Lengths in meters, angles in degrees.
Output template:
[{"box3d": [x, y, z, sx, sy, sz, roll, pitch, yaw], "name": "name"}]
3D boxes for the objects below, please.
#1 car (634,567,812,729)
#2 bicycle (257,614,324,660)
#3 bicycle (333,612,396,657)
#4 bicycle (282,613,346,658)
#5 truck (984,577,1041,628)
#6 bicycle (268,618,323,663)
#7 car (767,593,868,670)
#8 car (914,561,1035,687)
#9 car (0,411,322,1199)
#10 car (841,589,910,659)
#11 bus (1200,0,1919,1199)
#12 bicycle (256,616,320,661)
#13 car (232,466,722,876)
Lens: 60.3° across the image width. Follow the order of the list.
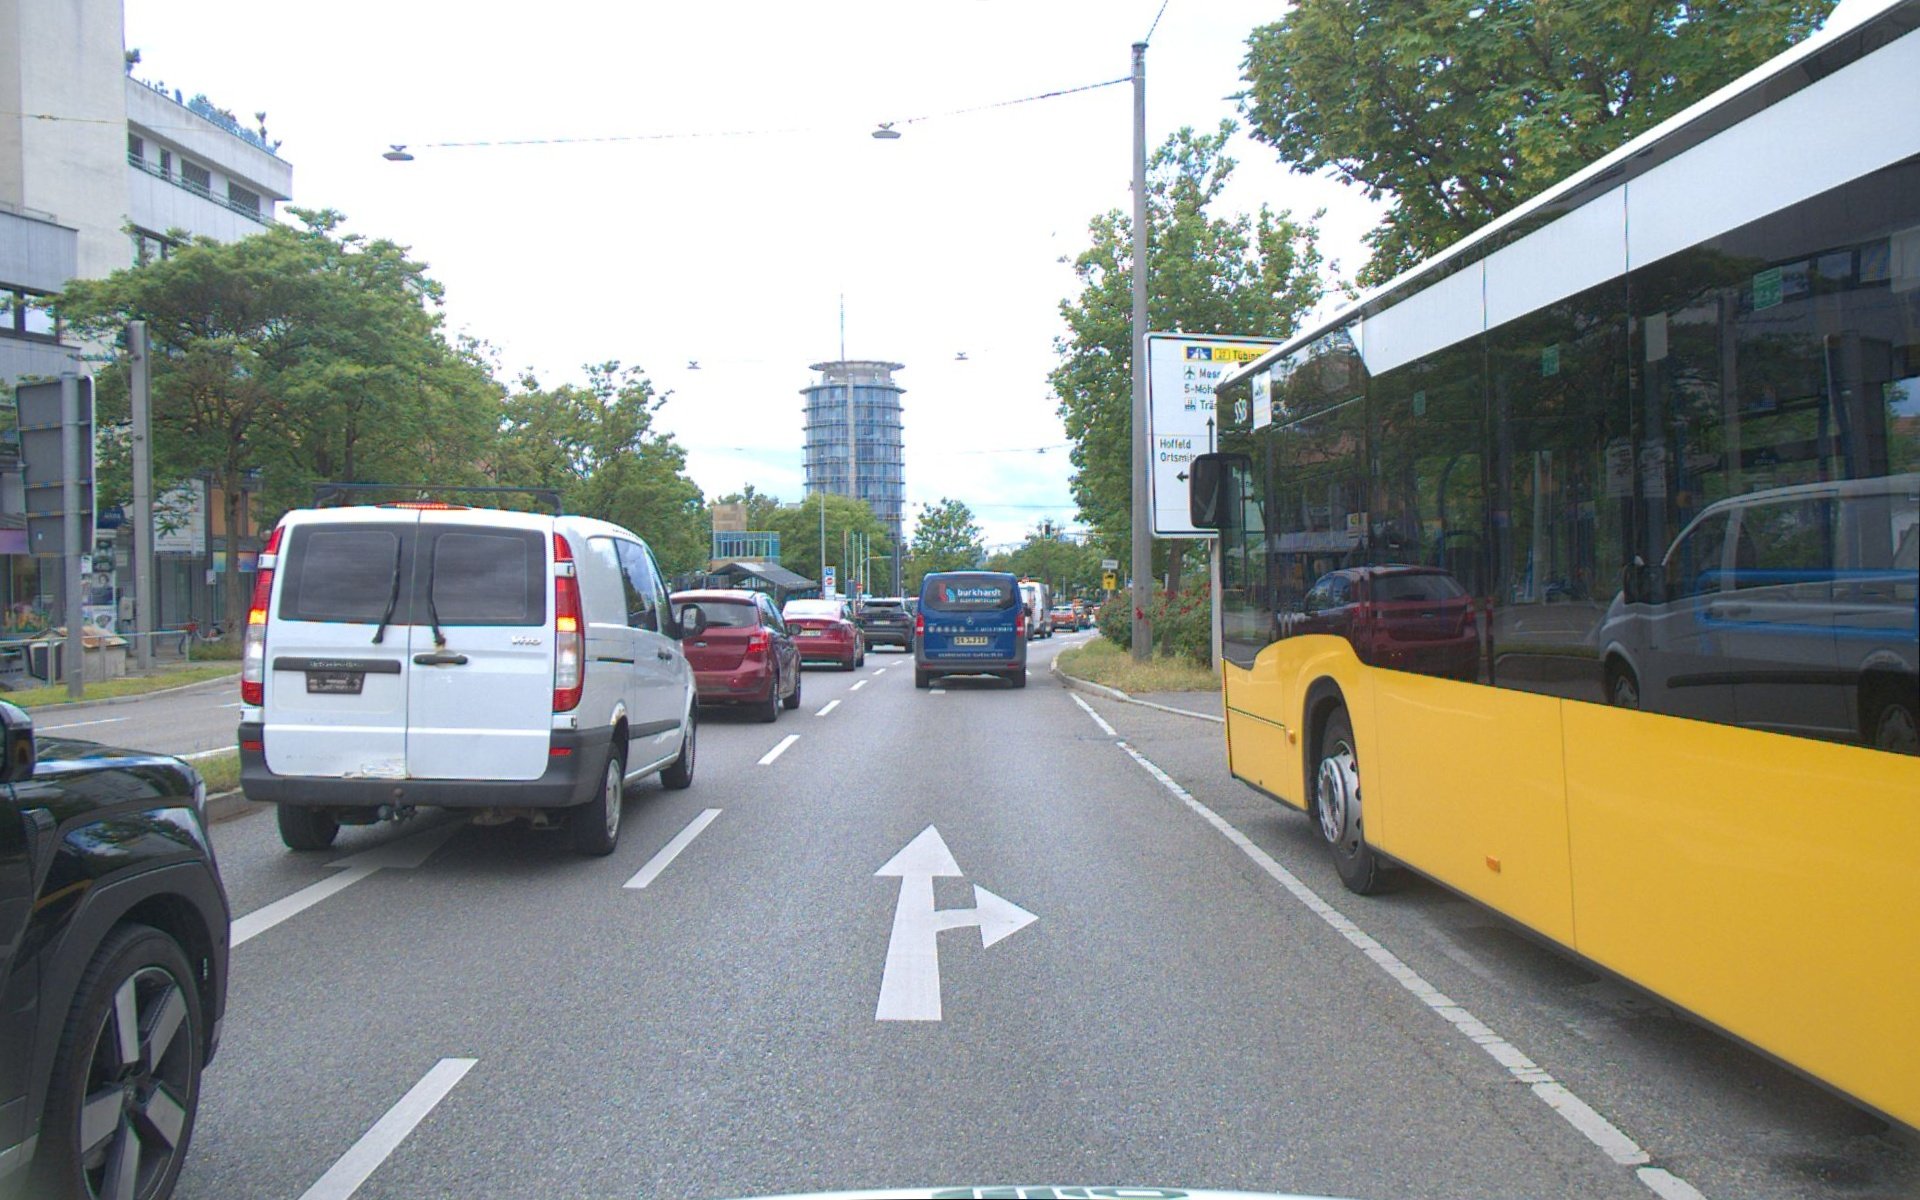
[{"box3d": [-2.841, 0.556, 20.576, 1.711, 1.754, 3.998, -2, -1, -2], "name": "car"}, {"box3d": [-19.288, 1.066, 47.671, 0.615, 1.275, 1.674, -2, 0, 41], "name": "bicycle"}, {"box3d": [-17.785, 1.030, 49.448, 0.615, 1.275, 1.675, -2, -1, 40], "name": "bicycle"}, {"box3d": [-19.205, 1.057, 49.172, 0.615, 1.275, 1.675, -2, -1, 40], "name": "bicycle"}, {"box3d": [2.437, 0.103, 75.289, 1.951, 2.203, 5.563, 1, 0, 8], "name": "truck"}, {"box3d": [-19.529, 1.173, 48.619, 0.425, 1.275, 1.461, -2, 0, 43], "name": "bicycle"}, {"box3d": [-2.972, 0.665, 35.280, 1.830, 1.512, 3.999, -1, -1, -1], "name": "car"}, {"box3d": [0.211, 0.395, 28.621, 1.908, 2.000, 4.540, 0, 0, -1], "name": "car"}, {"box3d": [-2.581, 0.558, 2.097, 1.884, 1.782, 4.676, 0, 0, -2], "name": "car"}, {"box3d": [-2.547, 0.707, 50.954, 1.953, 2.049, 4.000, 0, 1, -1], "name": "car"}, {"box3d": [3.256, -0.220, 6.679, 2.658, 3.219, 9.122, -2, 1, -3], "name": "bus"}, {"box3d": [-20.029, 1.135, 49.318, 0.615, 1.275, 1.675, -2, -1, 40], "name": "bicycle"}, {"box3d": [-2.779, 0.343, 10.829, 1.836, 2.049, 5.074, 0, 0, -2], "name": "car"}]
